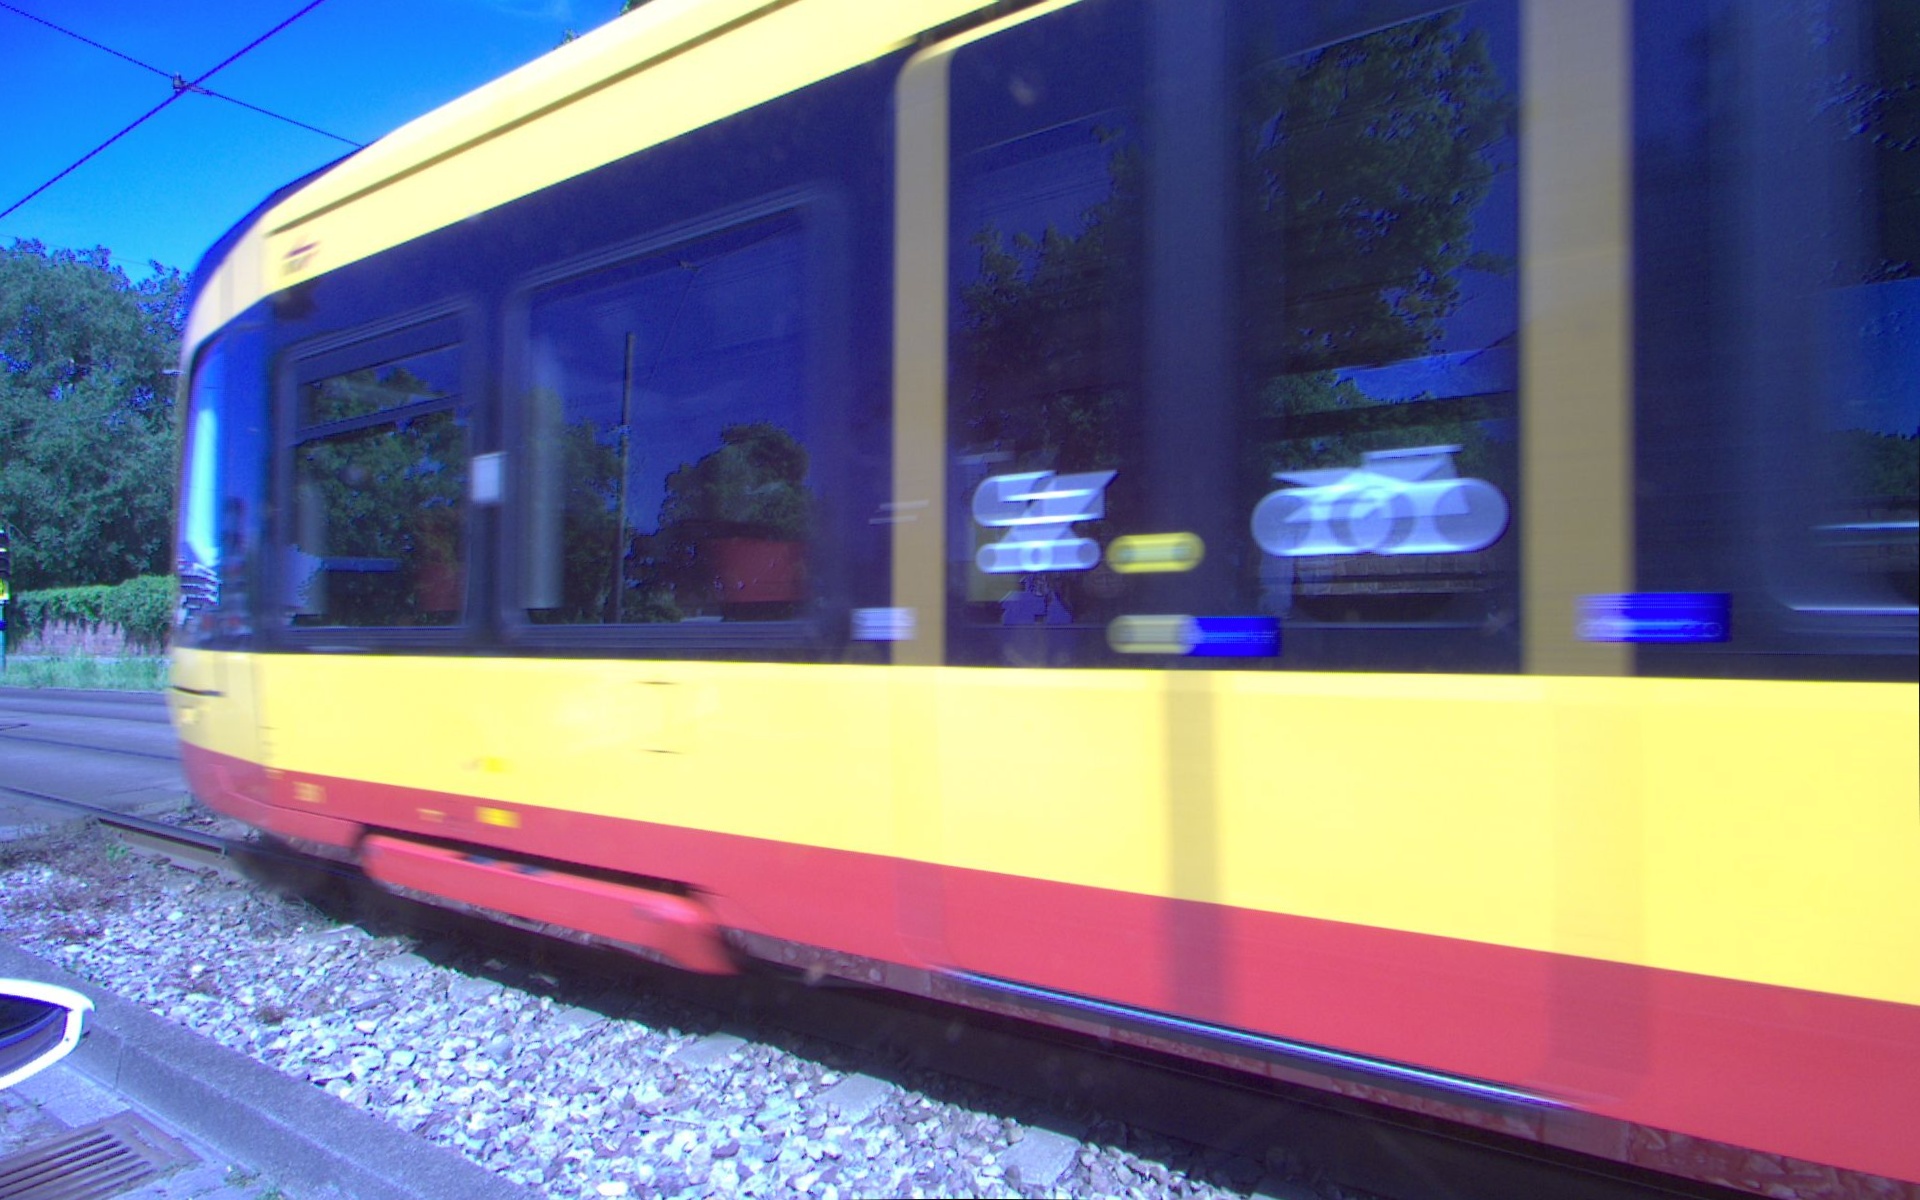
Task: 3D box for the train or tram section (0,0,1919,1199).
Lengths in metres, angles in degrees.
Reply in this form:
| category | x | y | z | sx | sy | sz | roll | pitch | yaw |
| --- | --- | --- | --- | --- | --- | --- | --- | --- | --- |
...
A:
| category | x | y | z | sx | sy | sz | roll | pitch | yaw |
| --- | --- | --- | --- | --- | --- | --- | --- | --- | --- |
| train or tram section | 1.075 | -0.326 | 3.229 | 15.090 | 3.698 | 2.665 | -2 | -2 | 33 |
